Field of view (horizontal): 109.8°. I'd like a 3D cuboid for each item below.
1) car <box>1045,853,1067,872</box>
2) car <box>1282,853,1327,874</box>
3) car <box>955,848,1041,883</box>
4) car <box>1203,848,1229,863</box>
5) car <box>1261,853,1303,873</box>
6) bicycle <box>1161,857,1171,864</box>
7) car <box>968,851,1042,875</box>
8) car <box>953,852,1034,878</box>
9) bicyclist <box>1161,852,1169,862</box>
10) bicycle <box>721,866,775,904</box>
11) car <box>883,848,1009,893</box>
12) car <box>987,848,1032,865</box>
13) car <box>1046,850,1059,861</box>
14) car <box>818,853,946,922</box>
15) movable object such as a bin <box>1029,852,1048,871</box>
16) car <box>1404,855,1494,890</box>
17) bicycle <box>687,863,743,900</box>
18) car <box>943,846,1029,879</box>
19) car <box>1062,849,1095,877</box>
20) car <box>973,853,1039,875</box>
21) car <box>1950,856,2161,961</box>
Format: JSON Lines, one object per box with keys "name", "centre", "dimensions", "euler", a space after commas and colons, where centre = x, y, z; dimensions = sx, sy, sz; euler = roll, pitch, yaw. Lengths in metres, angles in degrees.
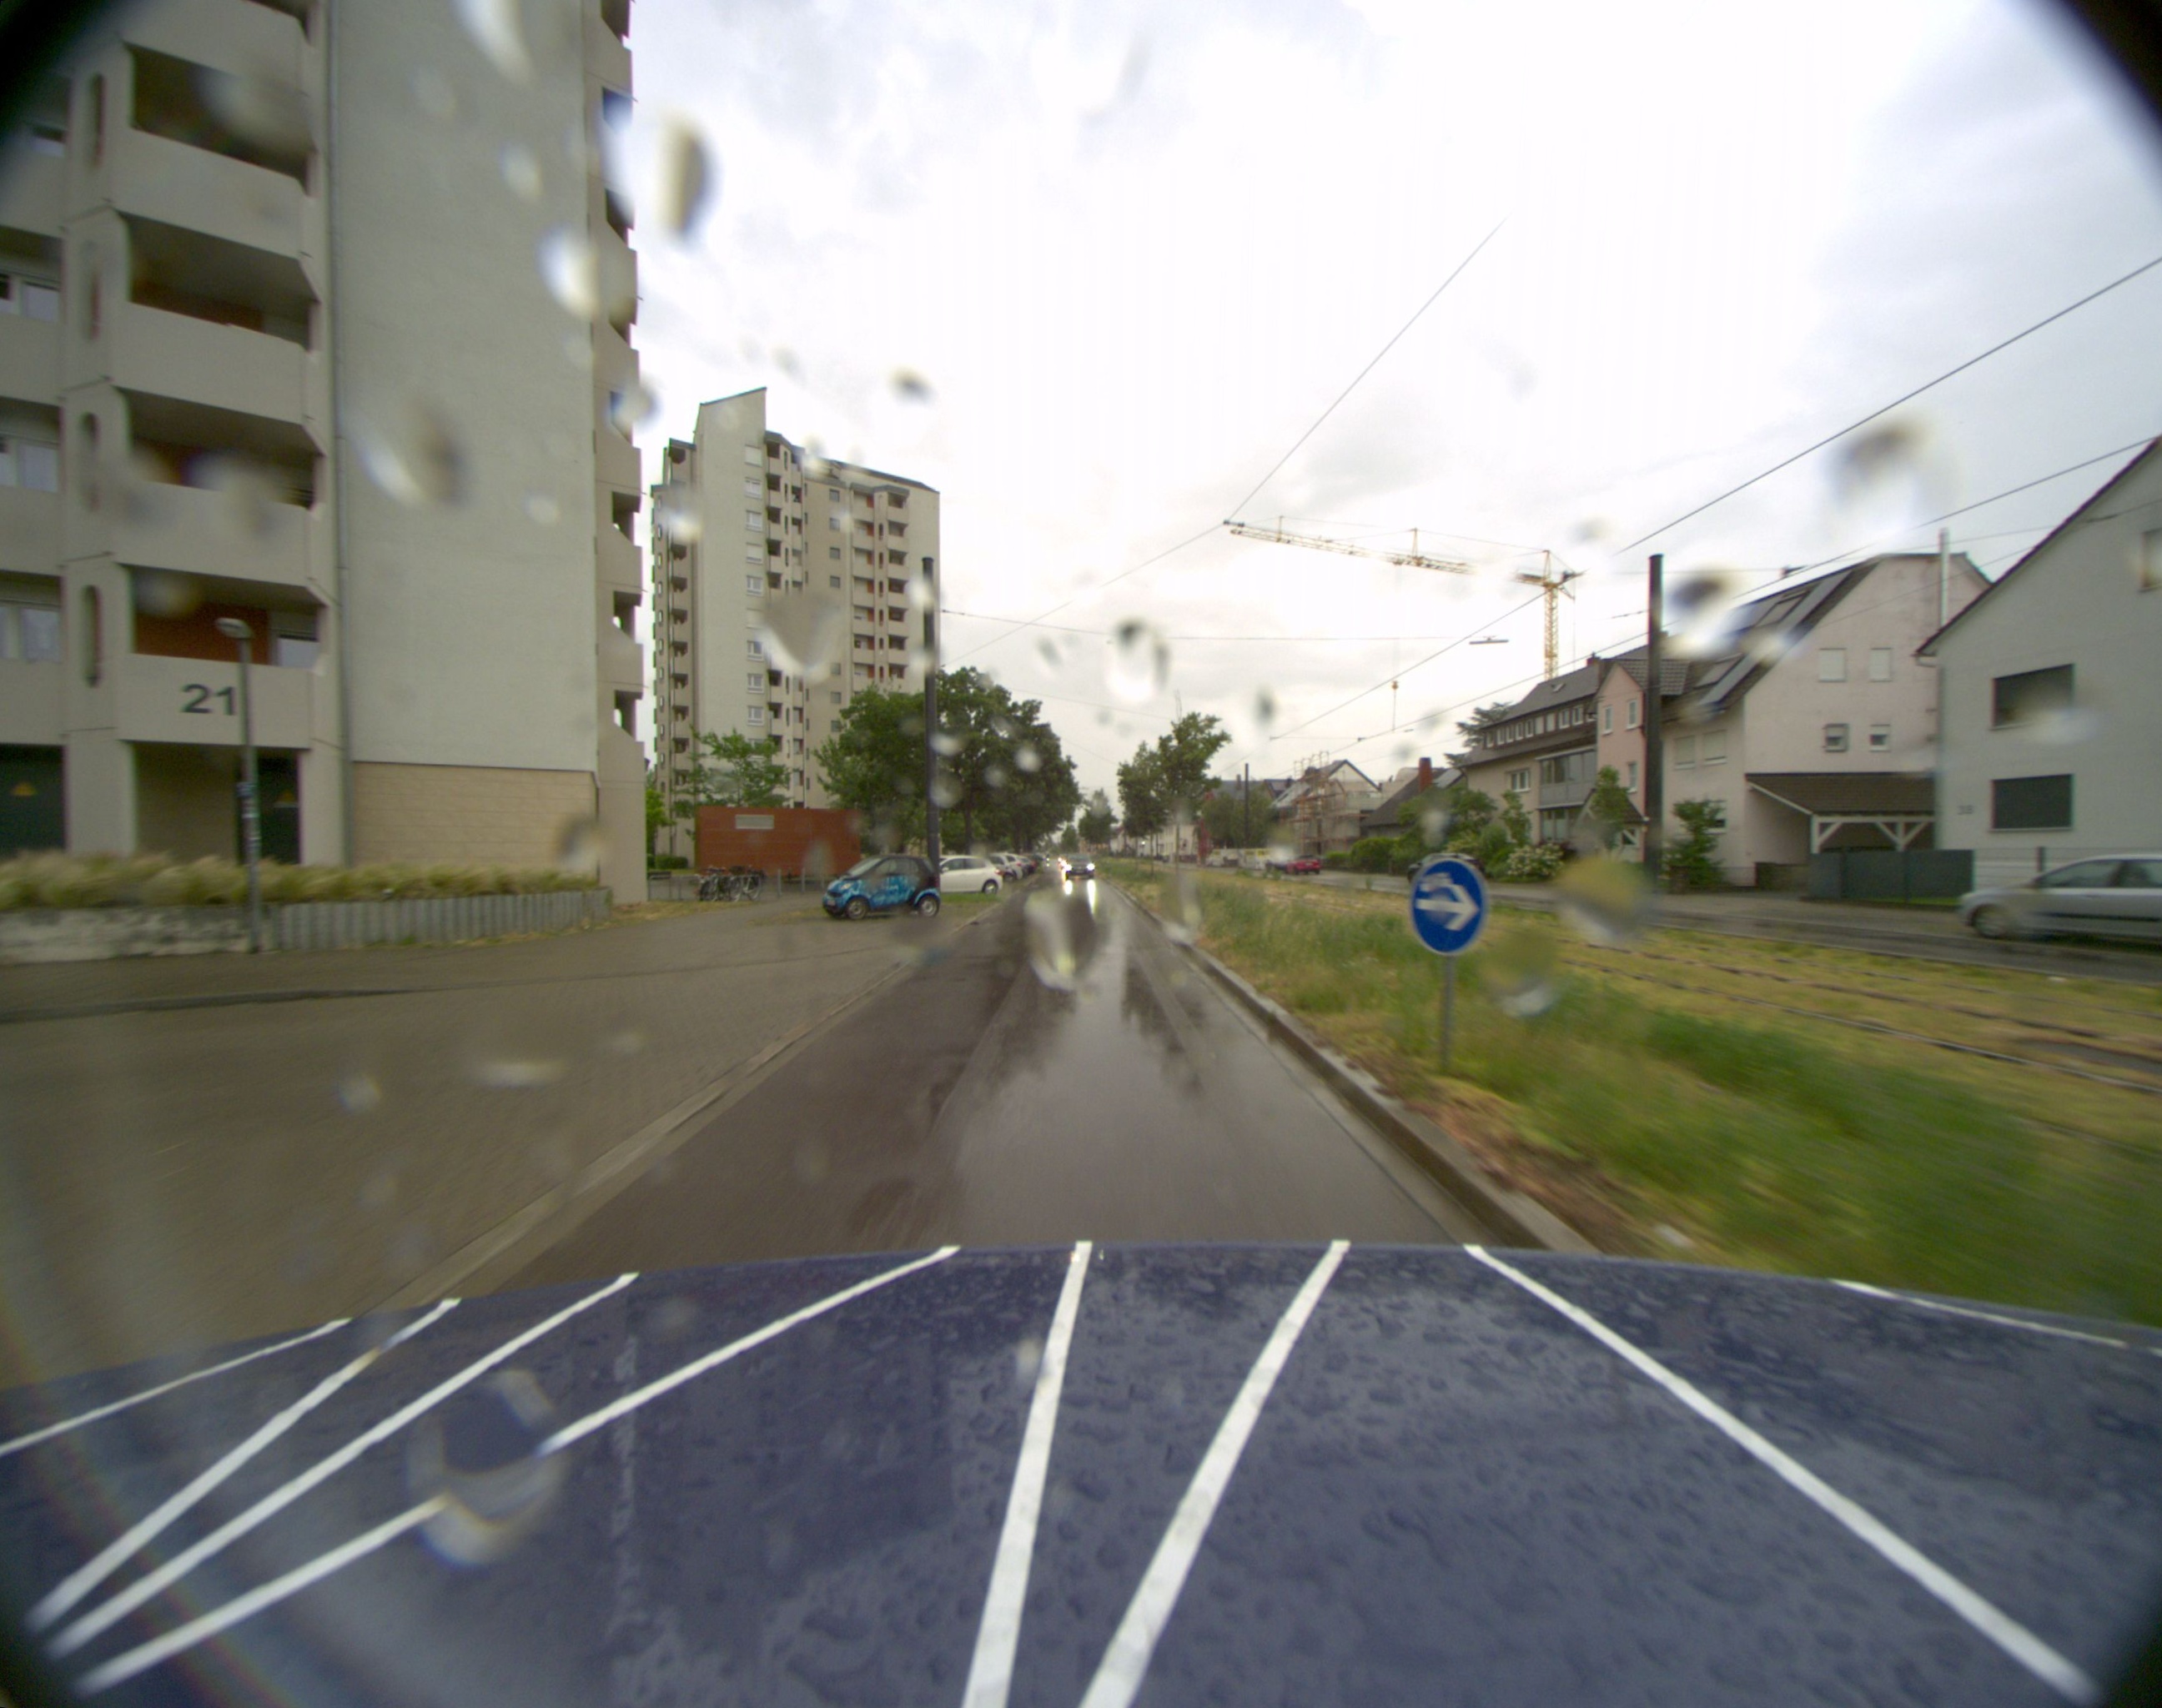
{"name": "car", "centre": [-2.467, 0.877, 76.678], "dimensions": [1.998, 1.762, 3.999], "euler": [-1, 1, 1]}
{"name": "car", "centre": [15.955, 0.659, 54.378], "dimensions": [1.999, 1.365, 3.842], "euler": [-1, 1, -2]}
{"name": "car", "centre": [-4.373, 0.622, 40.243], "dimensions": [4.195, 1.661, 1.680], "euler": [3, -1, -37]}
{"name": "car", "centre": [15.984, 0.184, 90.125], "dimensions": [1.999, 1.618, 4.249], "euler": [-1, 1, -3]}
{"name": "car", "centre": [15.668, 0.715, 59.477], "dimensions": [1.999, 1.401, 4.174], "euler": [-1, -1, -2]}
{"name": "bicycle", "centre": [13.344, 0.949, 119.548], "dimensions": [0.937, 1.037, 3.433], "euler": [0, 0, -2]}
{"name": "car", "centre": [-4.907, 0.600, 49.207], "dimensions": [4.470, 1.419, 1.680], "euler": [3, -1, -34]}
{"name": "car", "centre": [-5.246, 0.674, 45.736], "dimensions": [4.470, 1.401, 1.763], "euler": [3, -1, -35]}
{"name": "bicyclist", "centre": [13.290, 0.430, 120.175], "dimensions": [0.956, 1.575, 1.400], "euler": [-1, 1, -1]}
{"name": "bicycle", "centre": [-9.998, 0.906, 22.888], "dimensions": [0.663, 1.000, 2.058], "euler": [-1, 1, 0]}
{"name": "car", "centre": [-4.893, 0.624, 27.834], "dimensions": [4.195, 1.538, 1.760], "euler": [3, -1, -40]}
{"name": "car", "centre": [-7.048, 0.252, 75.086], "dimensions": [4.056, 1.479, 1.720], "euler": [2, -1, -36]}
{"name": "car", "centre": [-4.645, 0.187, 124.314], "dimensions": [1.998, 1.696, 3.999], "euler": [-1, 1, 1]}
{"name": "car", "centre": [-4.822, 0.756, 18.516], "dimensions": [2.570, 1.539, 1.598], "euler": [-1, 1, -40]}
{"name": "movable object such as a bin", "centre": [-3.634, 0.664, 65.094], "dimensions": [1.165, 1.553, 1.372], "euler": [-2, 2, -24]}
{"name": "car", "centre": [16.086, 0.776, 33.463], "dimensions": [1.841, 1.418, 4.174], "euler": [-1, 0, -2]}
{"name": "bicycle", "centre": [-11.080, 0.813, 23.072], "dimensions": [0.663, 1.000, 2.058], "euler": [-1, 1, 0]}
{"name": "car", "centre": [-5.292, 0.502, 42.623], "dimensions": [4.471, 1.661, 1.807], "euler": [3, -1, -40]}
{"name": "car", "centre": [-0.203, 0.542, 48.316], "dimensions": [1.999, 1.611, 3.999], "euler": [-1, 1, -1]}
{"name": "car", "centre": [-5.429, 0.710, 55.321], "dimensions": [4.470, 1.456, 1.815], "euler": [3, -1, -35]}
{"name": "car", "centre": [16.536, 0.802, 11.738], "dimensions": [1.999, 1.405, 3.657], "euler": [-1, 1, -2]}
